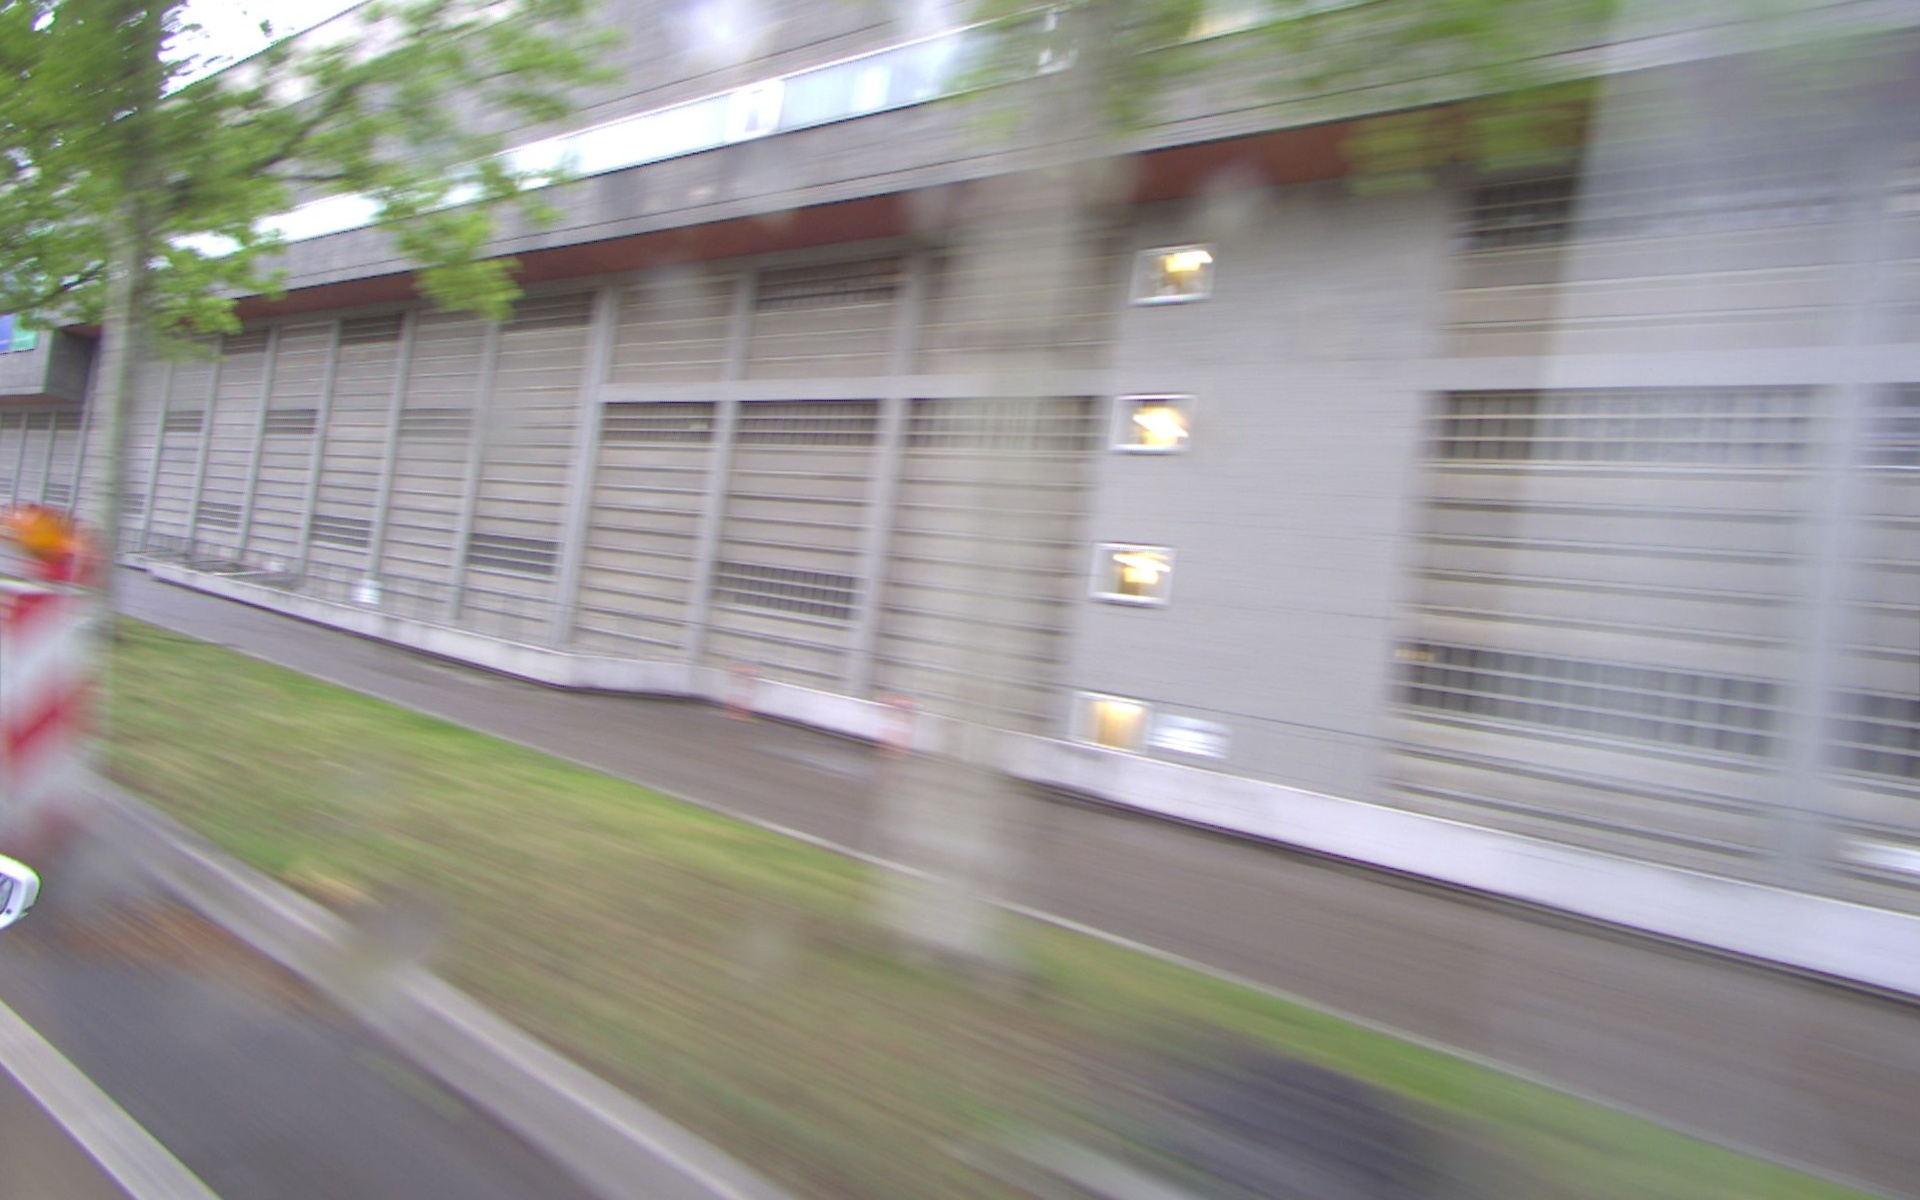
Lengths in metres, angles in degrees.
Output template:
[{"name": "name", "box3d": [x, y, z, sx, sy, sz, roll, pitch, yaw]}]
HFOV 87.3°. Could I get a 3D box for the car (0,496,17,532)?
[{"name": "car", "box3d": [-45.670, -4.166, 45.506, 1.902, 1.577, 3.993, 4, -3, 32]}]
